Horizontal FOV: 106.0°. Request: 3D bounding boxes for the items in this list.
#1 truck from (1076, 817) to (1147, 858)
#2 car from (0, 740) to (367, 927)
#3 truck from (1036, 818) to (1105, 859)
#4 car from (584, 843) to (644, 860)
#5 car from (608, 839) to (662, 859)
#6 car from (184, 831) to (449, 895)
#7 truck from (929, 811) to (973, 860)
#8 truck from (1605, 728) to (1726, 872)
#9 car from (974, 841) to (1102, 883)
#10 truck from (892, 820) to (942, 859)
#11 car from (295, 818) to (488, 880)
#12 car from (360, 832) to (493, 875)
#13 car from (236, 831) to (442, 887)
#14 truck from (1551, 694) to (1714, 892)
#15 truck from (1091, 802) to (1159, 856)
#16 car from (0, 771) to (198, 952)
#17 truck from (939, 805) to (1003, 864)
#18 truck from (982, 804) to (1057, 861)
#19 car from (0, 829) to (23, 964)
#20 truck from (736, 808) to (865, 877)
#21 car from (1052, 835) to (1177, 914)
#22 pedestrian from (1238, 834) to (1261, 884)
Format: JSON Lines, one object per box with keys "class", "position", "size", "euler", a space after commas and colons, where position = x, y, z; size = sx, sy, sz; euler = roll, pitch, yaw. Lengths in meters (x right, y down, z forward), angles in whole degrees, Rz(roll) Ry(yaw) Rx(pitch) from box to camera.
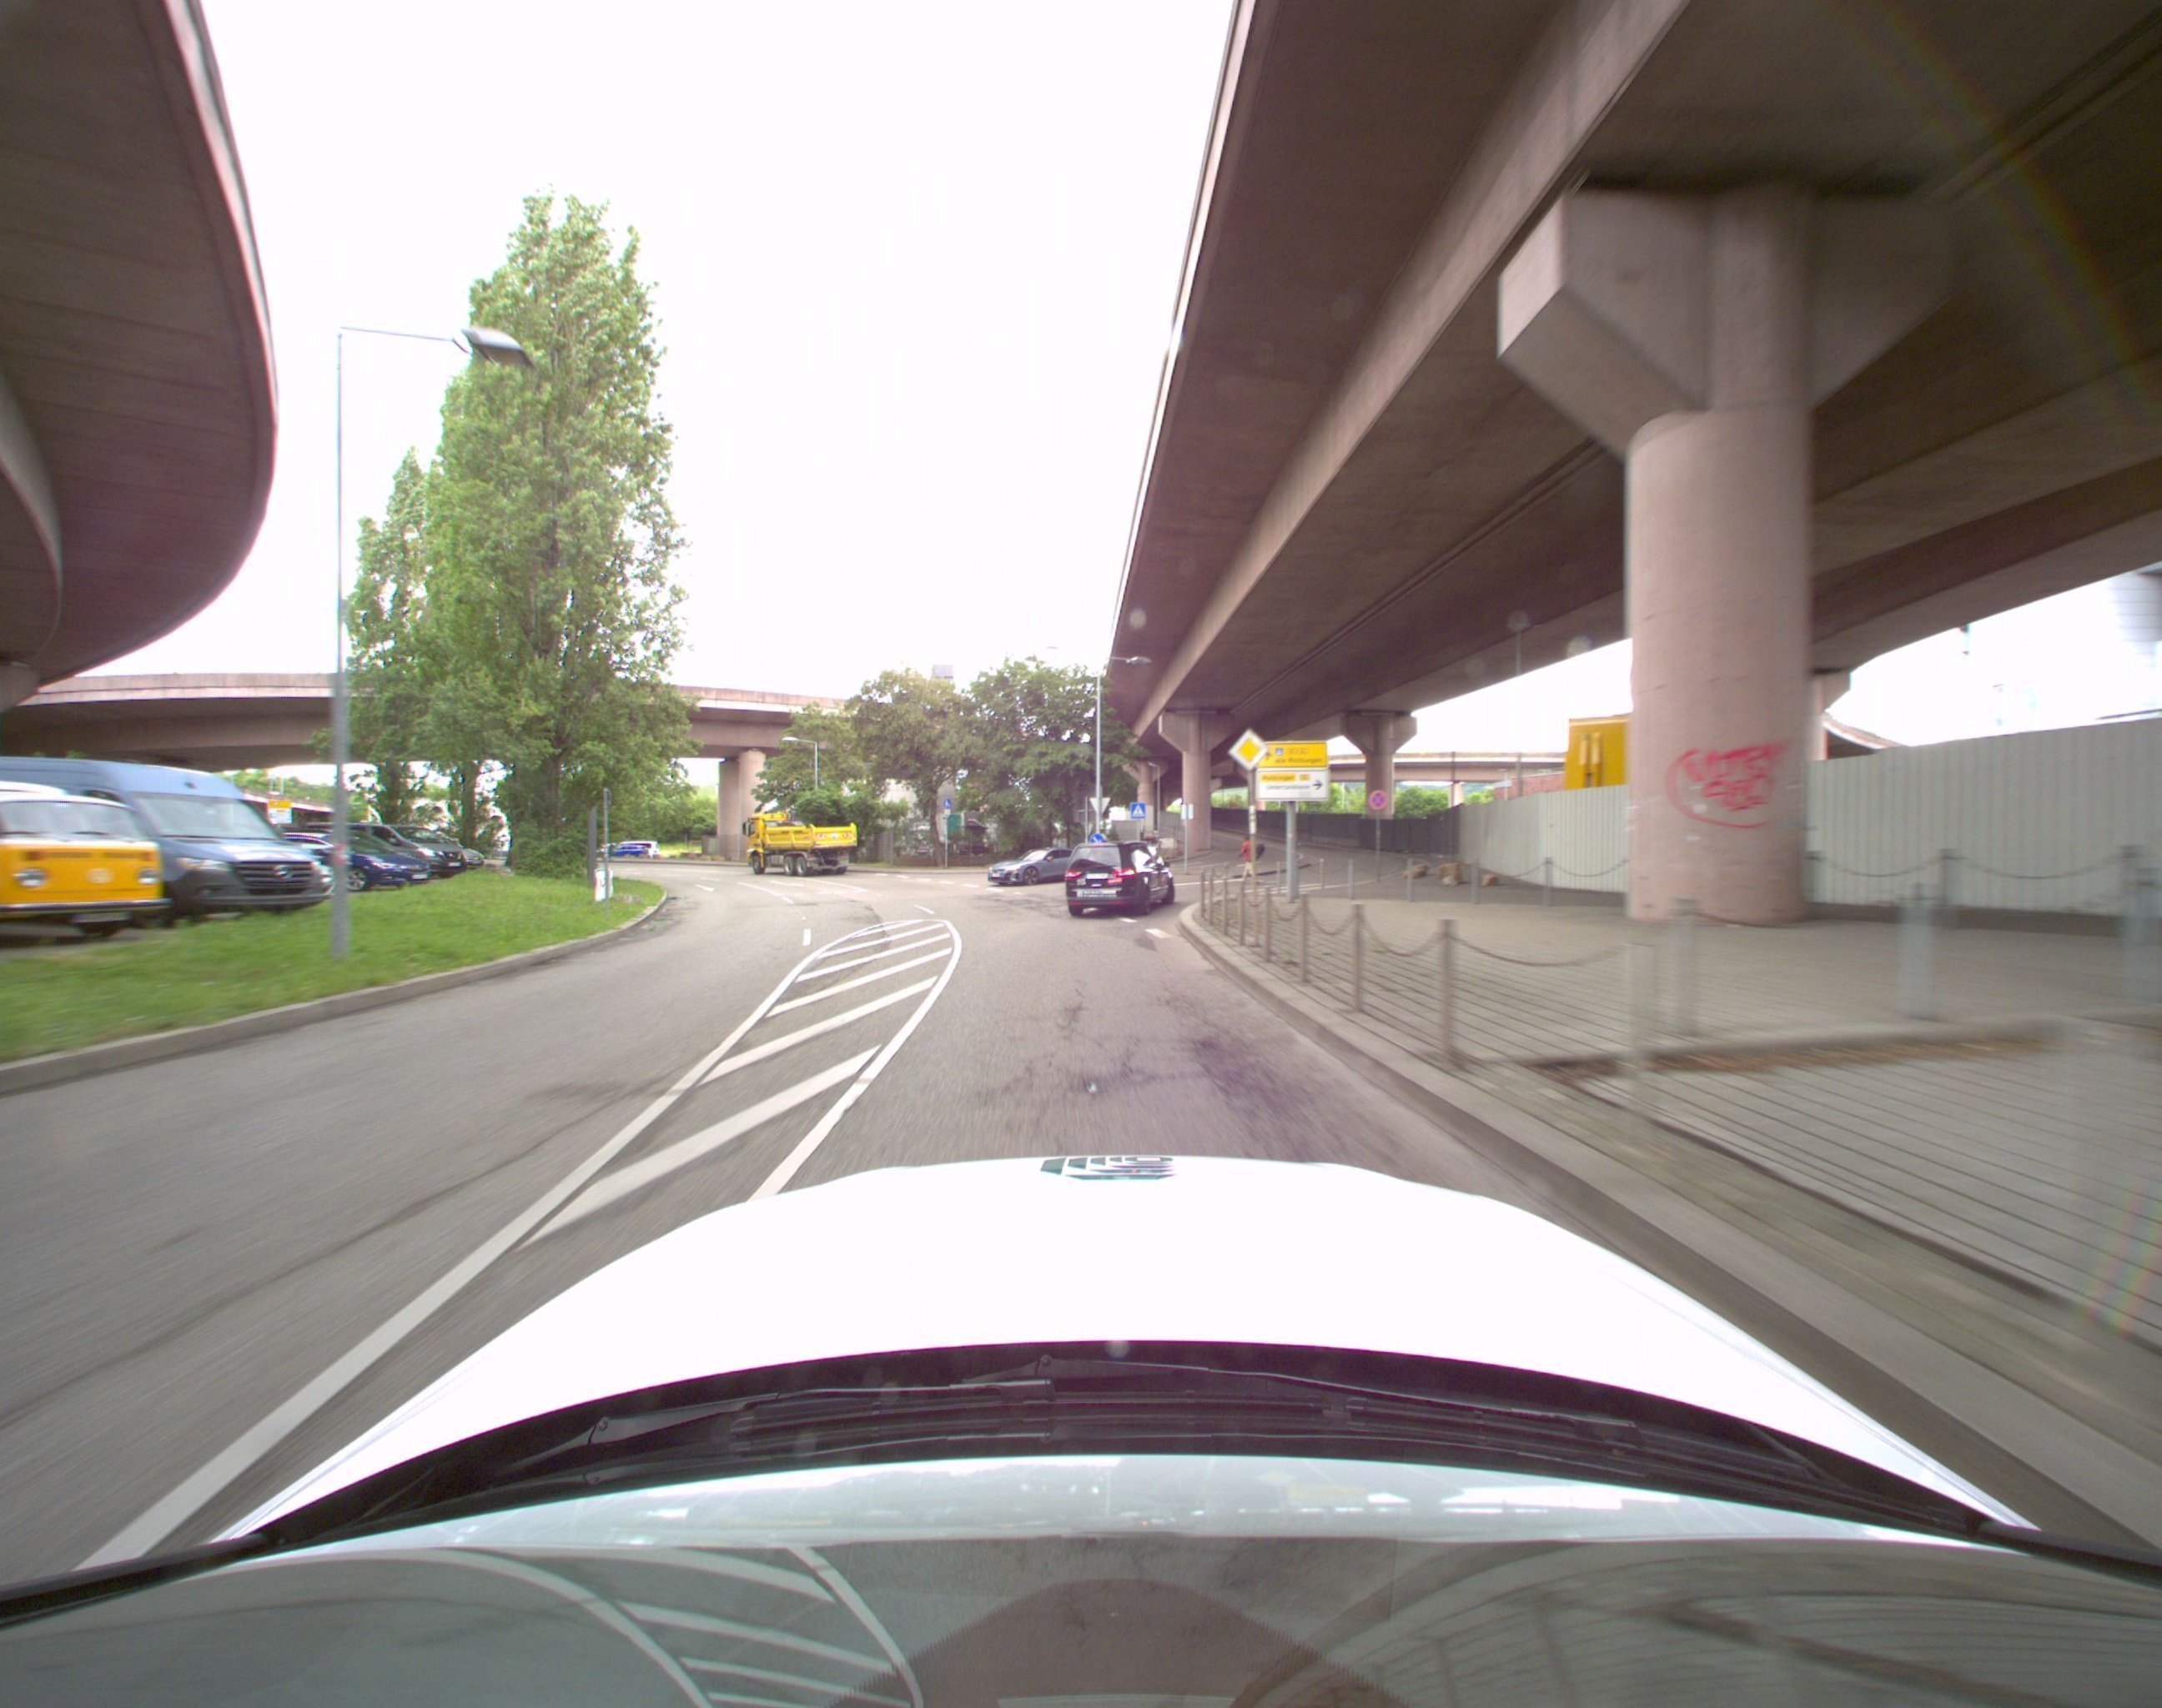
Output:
{"class": "truck", "position": [2.253, -1.324, 62.634], "size": [2.928, 2.898, 6.509], "euler": [-2, 2, -23]}
{"class": "car", "position": [-15.705, -0.356, 13.444], "size": [6.142, 2.724, 2.373], "euler": [1, 1, 7]}
{"class": "truck", "position": [-0.912, -1.216, 61.146], "size": [2.928, 2.898, 6.509], "euler": [-2, 2, -23]}
{"class": "car", "position": [-44.236, -0.273, 77.180], "size": [4.446, 1.442, 1.993], "euler": [-2, 0, -11]}
{"class": "car", "position": [-44.699, -0.464, 81.672], "size": [4.321, 1.857, 1.990], "euler": [-2, 0, -15]}
{"class": "car", "position": [-20.125, 0.211, 21.658], "size": [4.829, 1.488, 2.074], "euler": [-1, 1, -5]}
{"class": "truck", "position": [-13.434, -1.949, 83.599], "size": [3.211, 4.779, 8.001], "euler": [-2, 2, -18]}
{"class": "truck", "position": [23.166, -1.869, 32.036], "size": [3.108, 4.903, 8.772], "euler": [0, 0, 40]}
{"class": "car", "position": [-1.658, 0.266, 32.844], "size": [4.960, 1.501, 2.147], "euler": [-2, 1, -44]}
{"class": "truck", "position": [-16.141, -1.525, 79.623], "size": [3.070, 3.618, 7.852], "euler": [-1, 2, -25]}
{"class": "car", "position": [-24.823, -0.164, 29.477], "size": [5.070, 2.072, 2.260], "euler": [-1, -1, 2]}
{"class": "car", "position": [-29.867, -0.017, 37.272], "size": [4.372, 1.791, 2.015], "euler": [-2, 1, -1]}
{"class": "car", "position": [-21.984, 0.136, 24.247], "size": [4.418, 1.512, 1.898], "euler": [-1, 1, 2]}
{"class": "truck", "position": [16.863, -1.548, 24.544], "size": [3.108, 4.917, 8.772], "euler": [0, 0, 40]}
{"class": "truck", "position": [3.666, -2.143, 69.717], "size": [3.074, 4.299, 8.000], "euler": [-2, 2, -18]}
{"class": "car", "position": [-14.684, 0.046, 10.666], "size": [4.532, 2.111, 1.854], "euler": [1, 0, 6]}
{"class": "truck", "position": [-8.171, -1.418, 59.635], "size": [3.077, 3.962, 6.876], "euler": [-3, 2, -21]}
{"class": "truck", "position": [-4.615, -1.599, 59.561], "size": [3.079, 3.867, 7.989], "euler": [-2, 2, -23]}
{"class": "car", "position": [-13.272, 0.379, 7.792], "size": [4.219, 1.371, 2.005], "euler": [2, 1, 8]}
{"class": "truck", "position": [-15.589, -0.747, 44.924], "size": [8.141, 3.480, 2.955], "euler": [2, 4, 41]}
{"class": "car", "position": [0.980, 0.431, 20.069], "size": [1.978, 1.679, 4.580], "euler": [-2, 0, 16]}
{"class": "pedestrian", "position": [5.785, 0.170, 28.015], "size": [0.537, 1.676, 0.555], "euler": [-2, 1, -14]}
